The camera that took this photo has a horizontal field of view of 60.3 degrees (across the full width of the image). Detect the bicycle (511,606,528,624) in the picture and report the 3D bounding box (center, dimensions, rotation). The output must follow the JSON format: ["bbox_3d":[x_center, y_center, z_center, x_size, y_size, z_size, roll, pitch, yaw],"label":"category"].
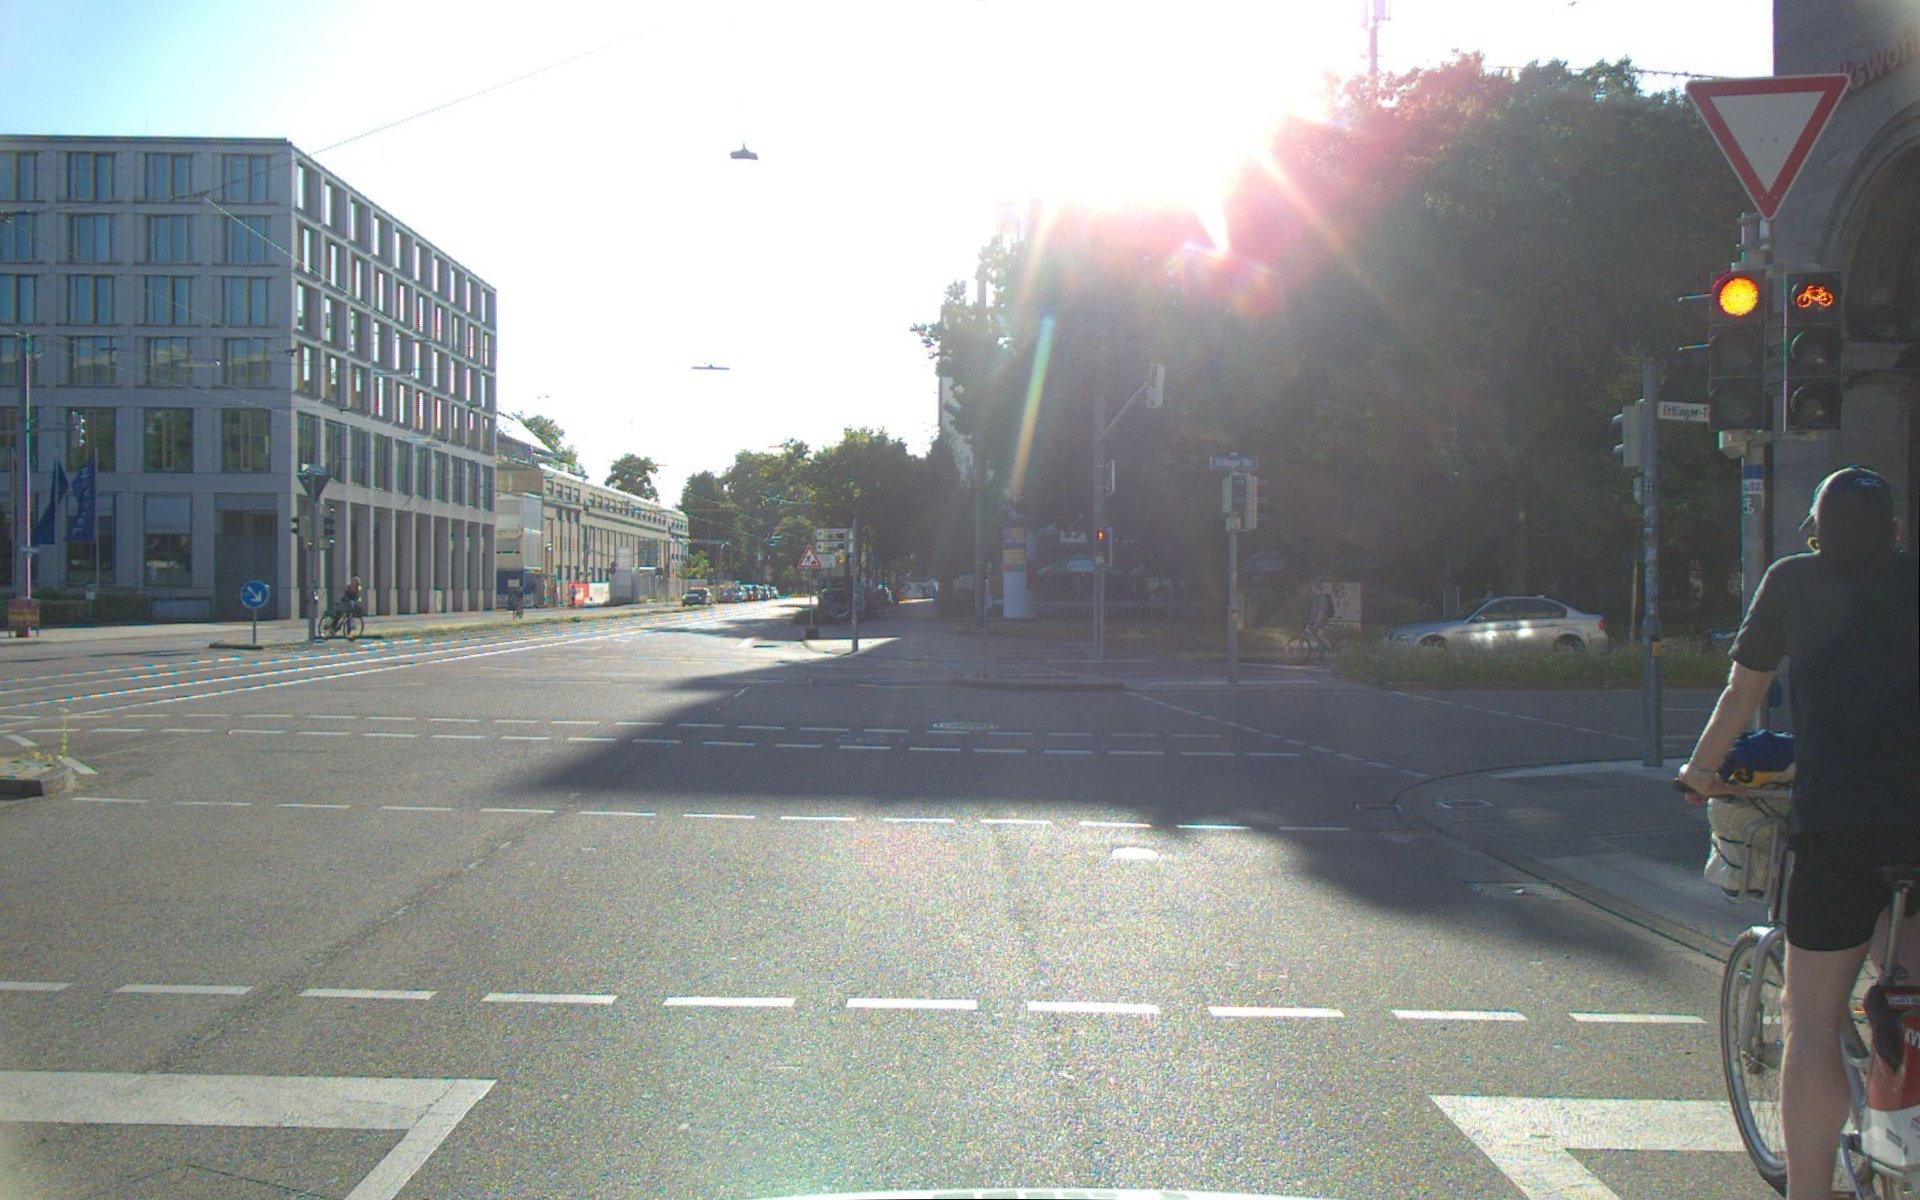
[{"bbox_3d":[-21.678,0.722,81.398,0.484,0.854,1.156,0,0,2],"label":"bicycle"}]

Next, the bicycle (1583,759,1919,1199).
[{"bbox_3d":[2.132,0.997,3.907,0.610,1.062,1.746,0,0,-2],"label":"bicycle"}]

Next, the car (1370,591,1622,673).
[{"bbox_3d":[10.847,0.634,33.718,4.483,1.543,2.000,1,0,-1],"label":"car"}]

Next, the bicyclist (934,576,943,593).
[{"bbox_3d":[-2.609,-1.868,200.498,0.875,2.049,0.746,1,-1,-12],"label":"bicyclist"}]

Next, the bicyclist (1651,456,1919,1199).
[{"bbox_3d":[2.136,0.570,3.895,0.610,1.745,0.912,0,0,-2],"label":"bicyclist"}]

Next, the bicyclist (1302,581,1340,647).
[{"bbox_3d":[7.953,0.309,36.486,0.731,1.431,0.702,1,-1,6],"label":"bicyclist"}]

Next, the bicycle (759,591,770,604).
[{"bbox_3d":[-19.457,-0.220,164.546,0.735,1.226,3.107,1,0,-2],"label":"bicycle"}]

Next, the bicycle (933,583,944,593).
[{"bbox_3d":[-2.627,-1.461,200.570,0.875,1.240,2.785,1,0,-12],"label":"bicycle"}]

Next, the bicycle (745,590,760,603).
[{"bbox_3d":[-19.916,-0.316,158.657,0.735,1.226,3.109,1,0,5],"label":"bicycle"}]

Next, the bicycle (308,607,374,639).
[{"bbox_3d":[-16.303,0.606,43.545,1.678,0.837,0.573,0,0,22],"label":"bicycle"}]

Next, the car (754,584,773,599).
[{"bbox_3d":[-23.054,-0.993,194.351,1.954,1.673,3.997,0,0,-4],"label":"car"}]

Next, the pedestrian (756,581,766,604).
[{"bbox_3d":[-19.079,-0.720,158.699,0.735,2.099,1.050,1,-1,5],"label":"pedestrian"}]

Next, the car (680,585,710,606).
[{"bbox_3d":[-21.674,-0.377,135.419,1.954,1.627,3.997,0,1,-3],"label":"car"}]

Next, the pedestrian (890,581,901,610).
[{"bbox_3d":[-3.788,-0.269,97.533,0.566,1.719,0.584,0,0,-8],"label":"pedestrian"}]

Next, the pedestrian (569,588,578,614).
[{"bbox_3d":[-29.063,0.088,124.428,0.576,1.922,0.478,1,-1,-1],"label":"pedestrian"}]

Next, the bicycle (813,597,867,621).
[{"bbox_3d":[-4.871,0.365,67.133,2.201,0.956,0.653,0,0,-6],"label":"bicycle"}]

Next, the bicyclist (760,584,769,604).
[{"bbox_3d":[-19.449,-0.594,164.429,0.735,1.953,1.214,1,0,-2],"label":"bicyclist"}]

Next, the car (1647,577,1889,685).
[{"bbox_3d":[16.226,0.615,33.373,3.905,2.049,2.000,1,0,0],"label":"car"}]

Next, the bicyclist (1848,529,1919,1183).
[{"bbox_3d":[2.879,0.693,4.347,0.572,1.769,0.950,0,0,0],"label":"bicyclist"}]

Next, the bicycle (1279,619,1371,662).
[{"bbox_3d":[8.032,0.884,36.479,1.902,0.905,0.718,1,0,5],"label":"bicycle"}]

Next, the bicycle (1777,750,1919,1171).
[{"bbox_3d":[2.879,1.014,4.383,0.570,1.062,1.747,0,0,0],"label":"bicycle"}]

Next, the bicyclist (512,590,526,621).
[{"bbox_3d":[-21.683,0.263,81.392,0.484,1.525,0.666,0,0,2],"label":"bicyclist"}]

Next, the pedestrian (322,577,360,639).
[{"bbox_3d":[-16.288,0.209,43.537,0.727,1.623,0.573,0,0,21],"label":"pedestrian"}]
